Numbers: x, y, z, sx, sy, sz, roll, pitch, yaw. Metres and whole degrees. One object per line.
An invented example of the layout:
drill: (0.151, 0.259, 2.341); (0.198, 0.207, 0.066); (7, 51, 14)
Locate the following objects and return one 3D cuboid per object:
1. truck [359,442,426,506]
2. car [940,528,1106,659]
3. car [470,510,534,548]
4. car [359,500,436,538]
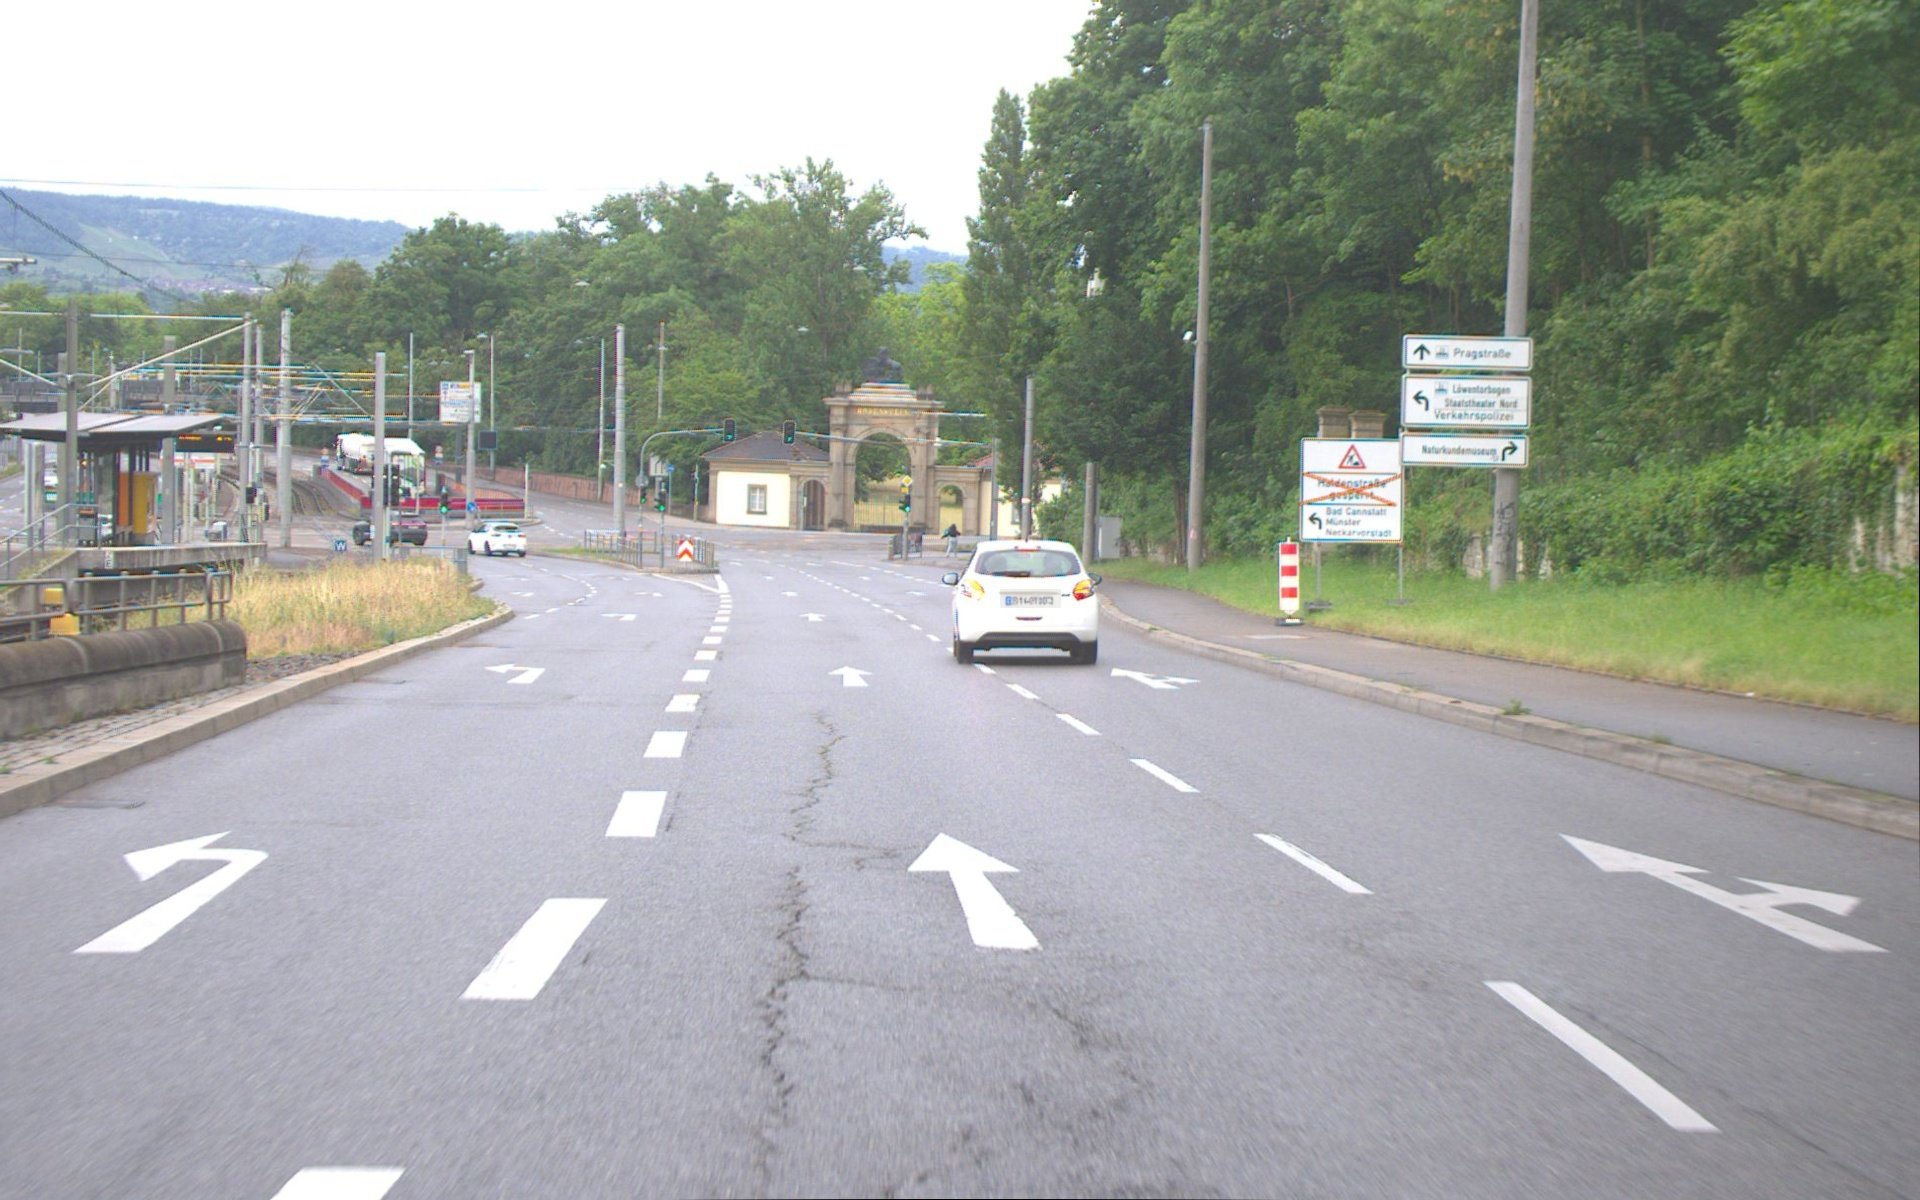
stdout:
truck: (-43.397, -9.626, 262.549); (3.413, 4.555, 11.291); (4, 1, -17)
car: (0.726, -0.100, 41.935); (1.868, 1.506, 3.900); (0, 1, -1)
car: (-19.833, -3.074, 148.748); (1.822, 1.600, 4.001); (-1, 2, -22)
car: (-26.041, -3.766, 159.158); (1.994, 1.700, 4.000); (0, 2, -34)
